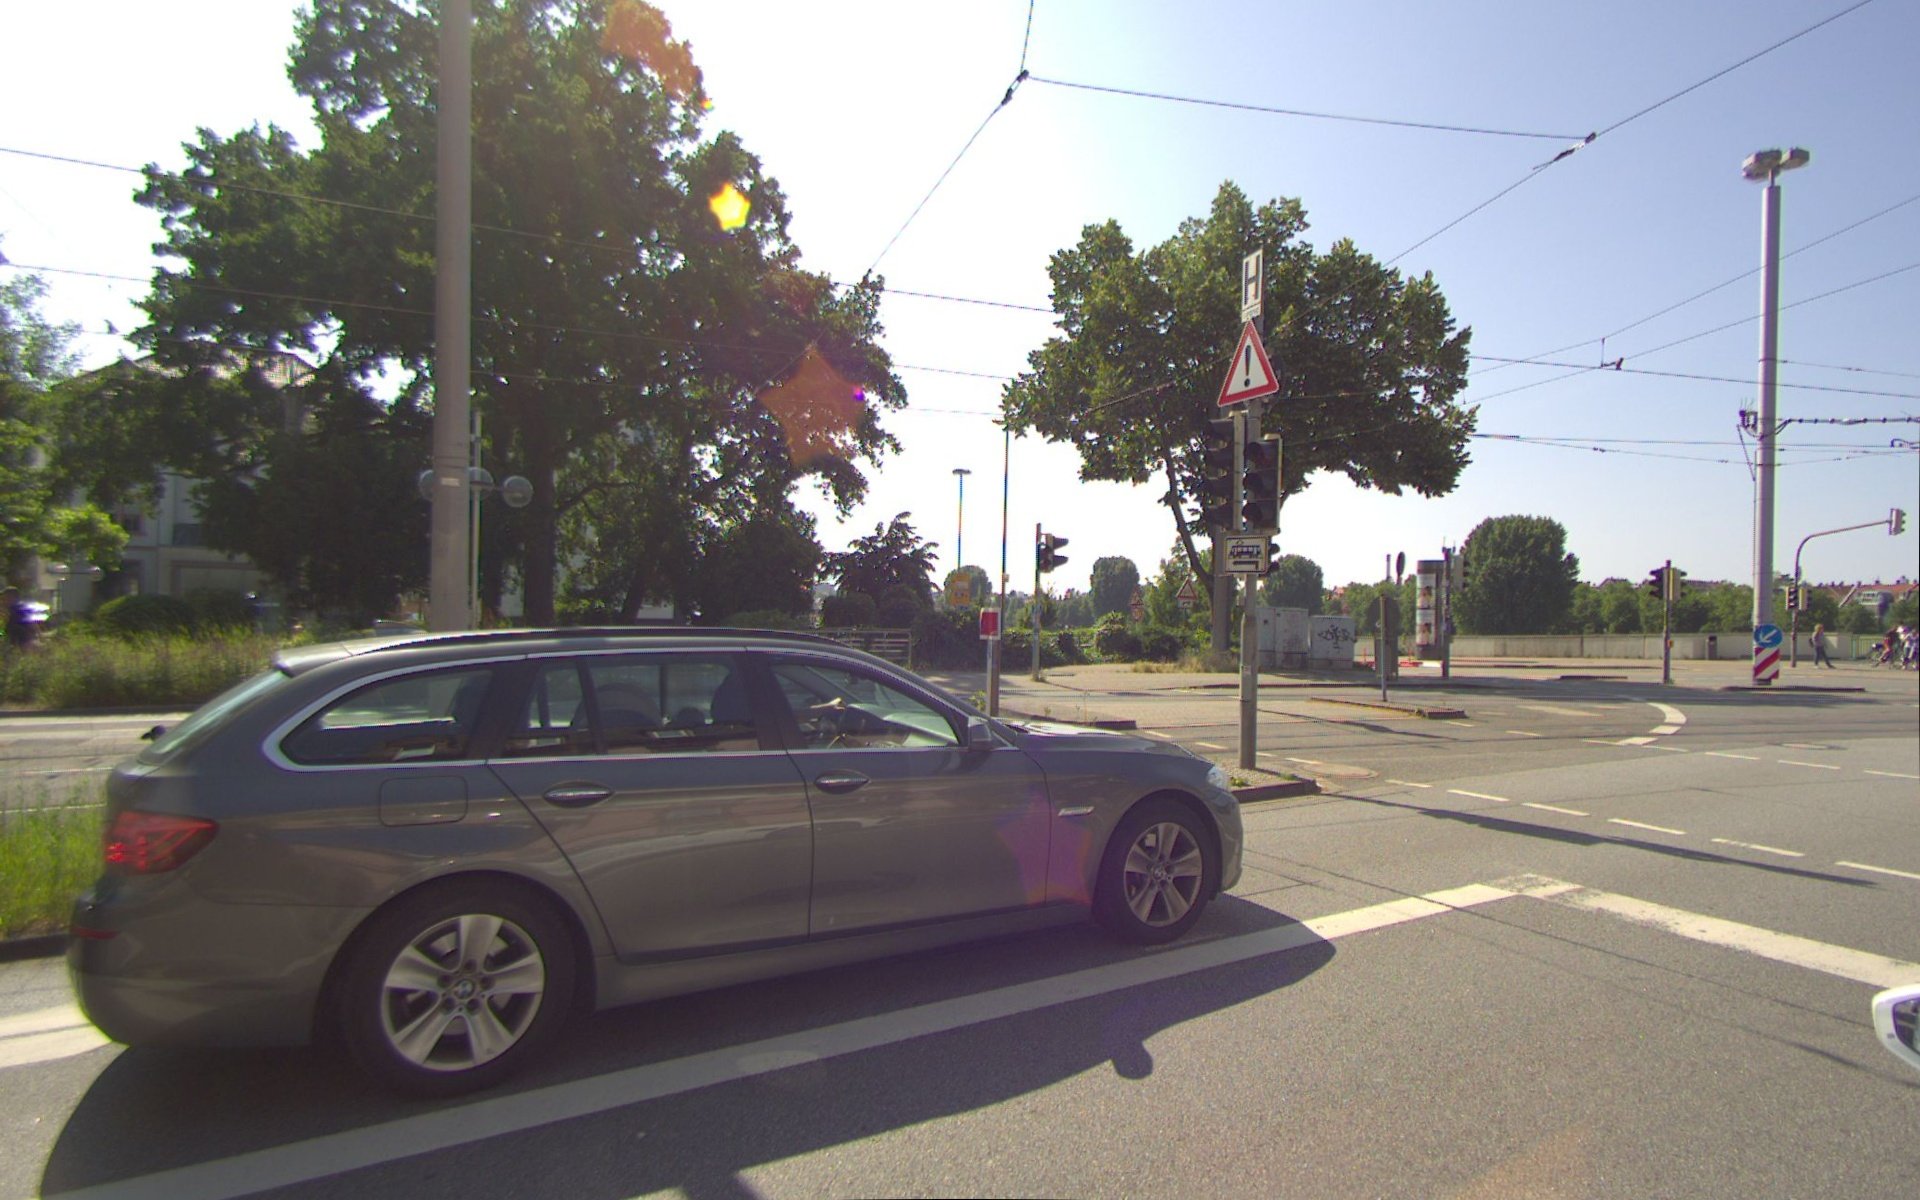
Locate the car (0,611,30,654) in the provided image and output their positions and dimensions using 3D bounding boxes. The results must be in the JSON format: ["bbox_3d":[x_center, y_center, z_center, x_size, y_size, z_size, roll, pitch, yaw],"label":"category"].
[{"bbox_3d":[-48.977,1.631,50.972,4.487,2.040,1.991,1,0,40],"label":"car"}]

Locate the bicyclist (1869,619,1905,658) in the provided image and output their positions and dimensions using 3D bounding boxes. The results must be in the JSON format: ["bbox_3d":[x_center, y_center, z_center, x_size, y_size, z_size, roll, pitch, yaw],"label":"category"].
[{"bbox_3d":[35.316,1.447,38.269,0.992,1.468,0.811,0,-1,43],"label":"bicyclist"}]

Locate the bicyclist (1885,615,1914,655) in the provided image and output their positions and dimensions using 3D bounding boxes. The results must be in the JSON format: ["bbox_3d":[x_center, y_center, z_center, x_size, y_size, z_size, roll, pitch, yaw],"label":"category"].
[{"bbox_3d":[36.160,1.339,38.664,0.815,1.513,0.871,0,-1,43],"label":"bicyclist"}]

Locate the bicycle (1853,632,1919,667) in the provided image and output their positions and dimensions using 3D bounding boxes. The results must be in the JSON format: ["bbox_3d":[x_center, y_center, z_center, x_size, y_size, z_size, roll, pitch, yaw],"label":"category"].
[{"bbox_3d":[35.419,1.867,38.166,2.213,1.296,0.736,-1,-1,44],"label":"bicycle"}]

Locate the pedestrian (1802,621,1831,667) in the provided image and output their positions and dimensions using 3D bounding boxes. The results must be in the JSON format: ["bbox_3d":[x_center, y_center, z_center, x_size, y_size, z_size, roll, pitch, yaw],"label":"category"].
[{"bbox_3d":[33.142,1.693,38.887,0.824,1.719,1.093,0,-1,40],"label":"pedestrian"}]

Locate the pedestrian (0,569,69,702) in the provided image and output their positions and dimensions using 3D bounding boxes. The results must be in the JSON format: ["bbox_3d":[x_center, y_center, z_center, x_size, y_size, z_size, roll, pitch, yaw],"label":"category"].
[{"bbox_3d":[-15.883,0.593,17.054,0.791,2.179,1.121,1,-1,-23],"label":"pedestrian"}]

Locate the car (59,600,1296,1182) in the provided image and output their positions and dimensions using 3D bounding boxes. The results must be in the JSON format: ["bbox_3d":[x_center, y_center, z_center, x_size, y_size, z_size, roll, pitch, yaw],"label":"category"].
[{"bbox_3d":[-0.758,0.808,4.582,4.693,1.505,1.739,1,-2,-31],"label":"car"}]

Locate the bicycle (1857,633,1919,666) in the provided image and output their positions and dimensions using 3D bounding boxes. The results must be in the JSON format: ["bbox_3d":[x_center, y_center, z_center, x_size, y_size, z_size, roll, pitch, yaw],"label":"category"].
[{"bbox_3d":[35.997,1.884,38.815,1.948,1.225,0.636,-1,-1,44],"label":"bicycle"}]

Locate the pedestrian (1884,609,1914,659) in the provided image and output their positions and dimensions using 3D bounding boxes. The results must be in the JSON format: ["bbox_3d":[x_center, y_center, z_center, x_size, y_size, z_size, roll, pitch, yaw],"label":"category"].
[{"bbox_3d":[38.884,1.409,41.613,0.889,2.040,0.829,0,-1,43],"label":"pedestrian"}]
